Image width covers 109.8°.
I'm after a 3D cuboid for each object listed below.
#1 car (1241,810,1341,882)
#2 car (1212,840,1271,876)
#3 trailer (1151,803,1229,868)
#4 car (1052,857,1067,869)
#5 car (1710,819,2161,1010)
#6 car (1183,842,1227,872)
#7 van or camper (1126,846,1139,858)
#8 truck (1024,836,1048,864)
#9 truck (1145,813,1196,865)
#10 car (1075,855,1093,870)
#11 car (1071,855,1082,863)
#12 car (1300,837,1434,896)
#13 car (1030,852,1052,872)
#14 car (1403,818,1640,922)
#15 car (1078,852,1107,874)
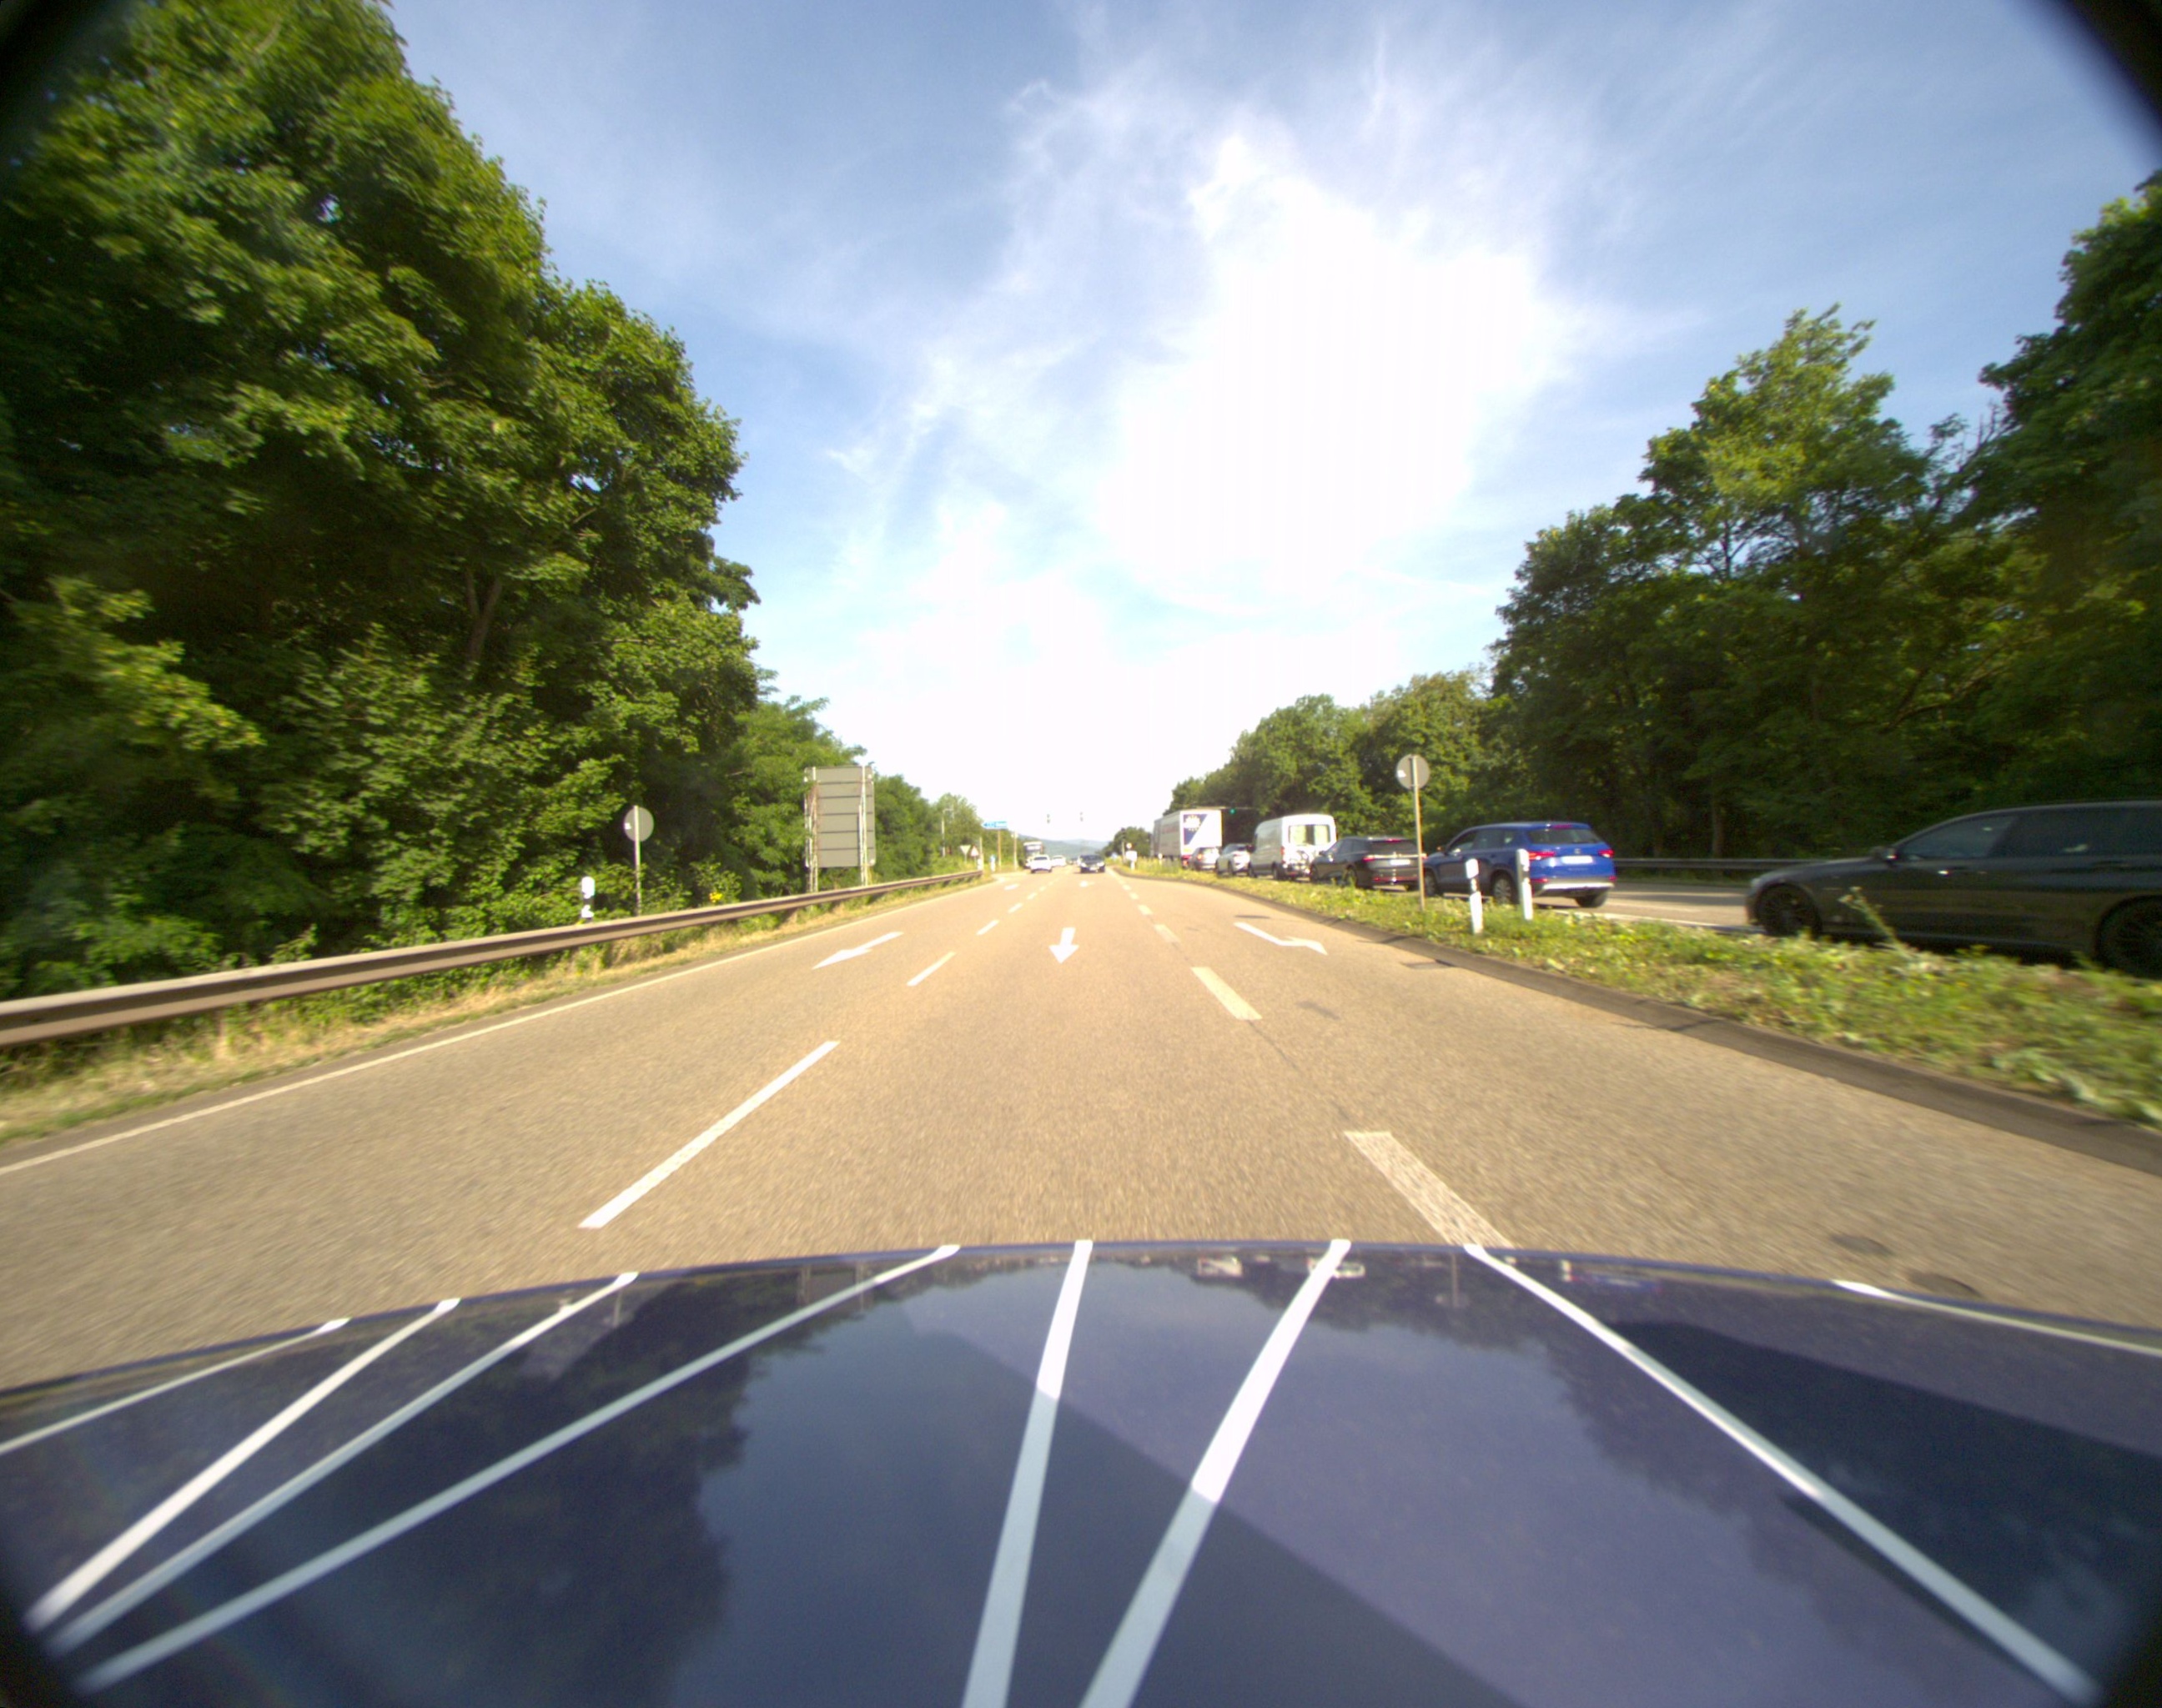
[{"bbox_3d":[8.071,-0.268,29.893,2.080,2.519,6.163,-1,0,-1],"label":"car"},{"bbox_3d":[7.879,0.207,37.733,1.704,1.622,4.746,-1,0,-2],"label":"car"},{"bbox_3d":[7.645,-1.188,55.760,2.999,3.972,14.010,-4,0,-2],"label":"trailer"},{"bbox_3d":[-3.208,1.299,114.491,1.999,1.632,3.999,-4,0,-4],"label":"car"},{"bbox_3d":[8.611,0.418,6.866,1.776,1.371,4.843,-1,0,-1],"label":"car"},{"bbox_3d":[7.336,0.176,45.254,1.704,1.622,4.370,-1,0,-2],"label":"car"},{"bbox_3d":[12.045,-0.535,177.626,2.419,2.695,6.436,0,0,-1],"label":"van or camper"},{"bbox_3d":[-7.160,-0.574,122.134,3.197,3.995,14.561,-4,0,-2],"label":"truck"},{"bbox_3d":[7.295,-1.164,63.085,2.899,3.974,6.720,-4,0,-3],"label":"truck"},{"bbox_3d":[0.334,1.025,90.516,1.999,1.632,3.999,-4,0,-2],"label":"car"},{"bbox_3d":[-0.978,1.021,155.867,1.999,1.632,3.999,-4,0,-4],"label":"car"},{"bbox_3d":[7.938,0.321,21.669,1.765,1.448,5.185,-1,0,-1],"label":"car"},{"bbox_3d":[-3.577,0.707,68.069,1.875,1.625,4.833,-1,0,-3],"label":"car"},{"bbox_3d":[8.247,0.265,14.874,1.776,1.659,4.800,-1,0,-1],"label":"car"},{"bbox_3d":[0.835,0.637,57.247,1.862,1.452,4.568,-4,0,-2],"label":"car"}]
